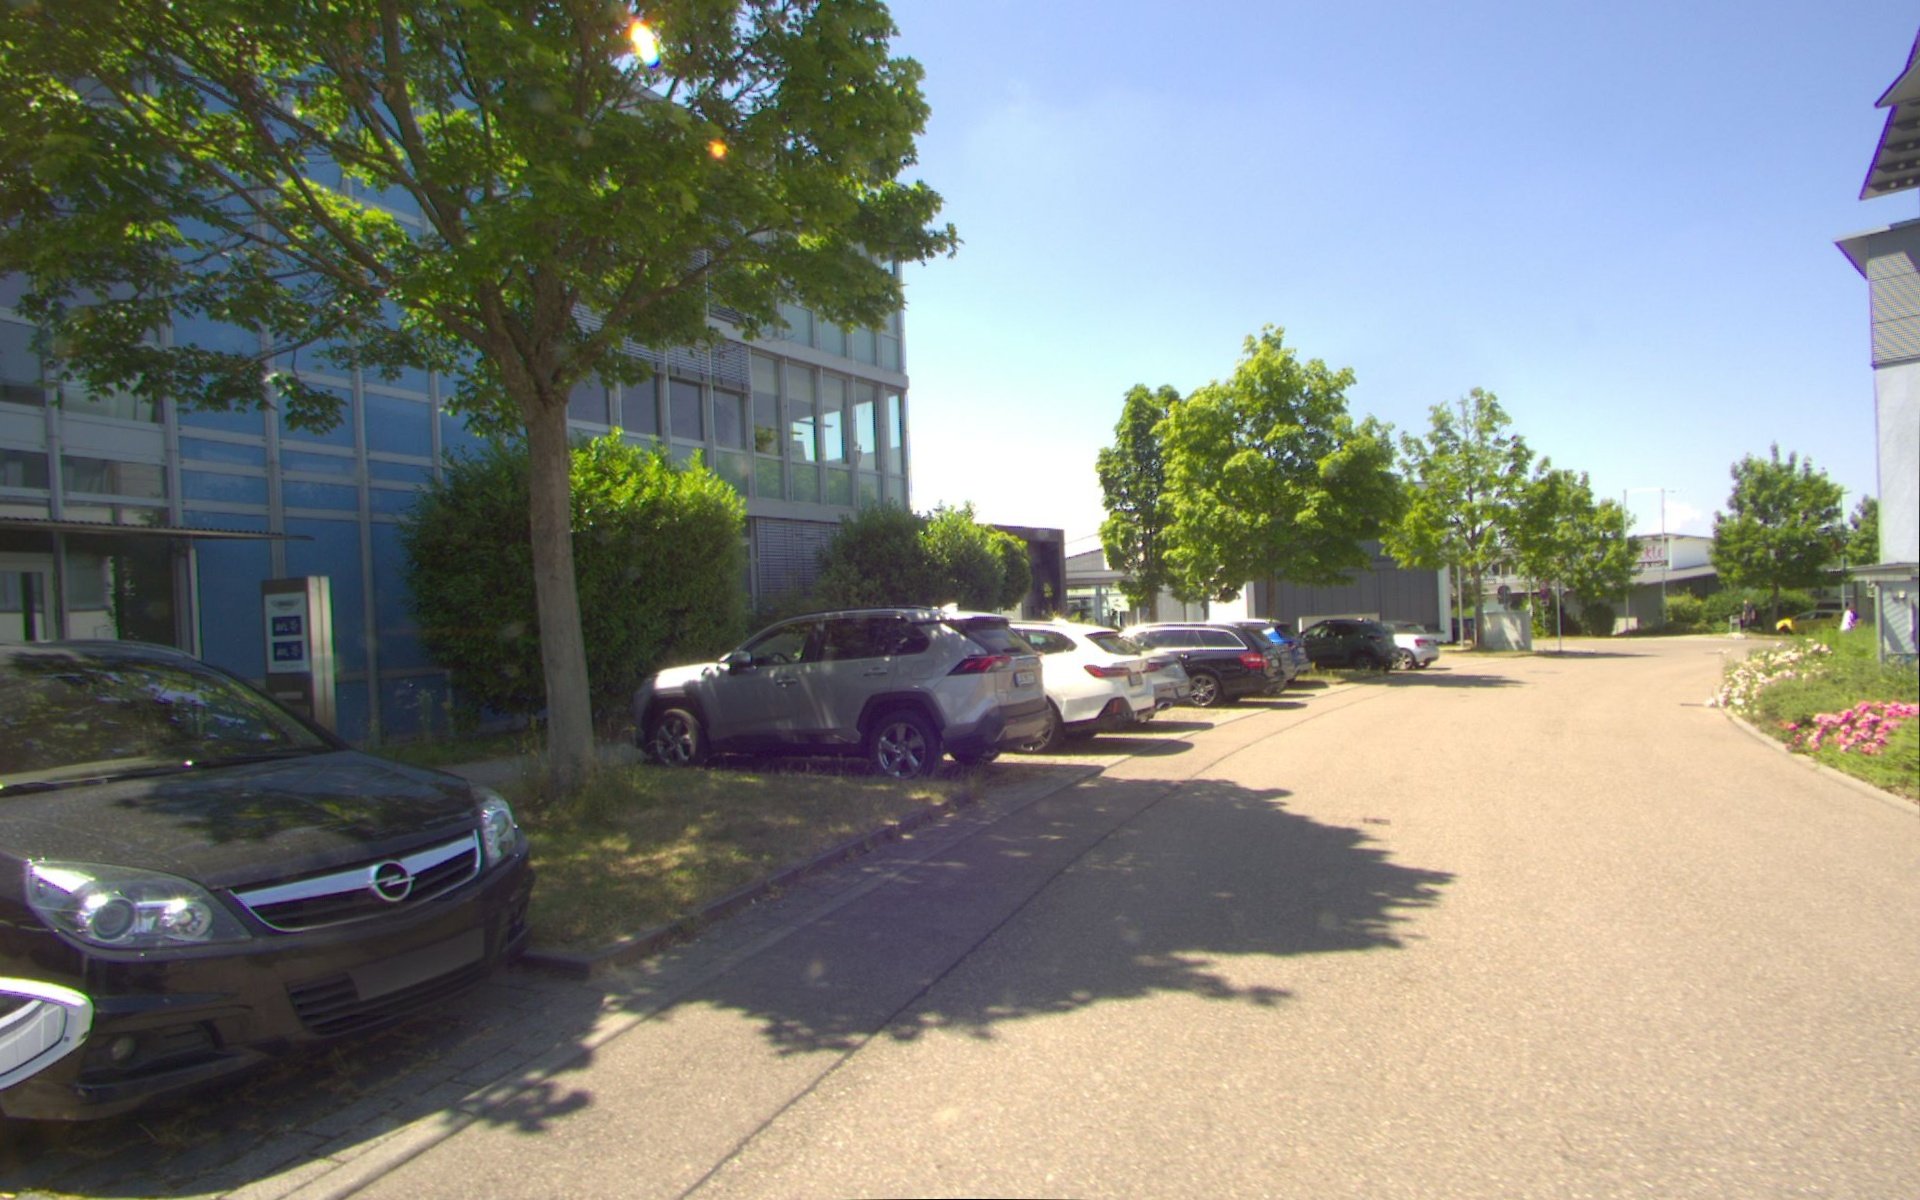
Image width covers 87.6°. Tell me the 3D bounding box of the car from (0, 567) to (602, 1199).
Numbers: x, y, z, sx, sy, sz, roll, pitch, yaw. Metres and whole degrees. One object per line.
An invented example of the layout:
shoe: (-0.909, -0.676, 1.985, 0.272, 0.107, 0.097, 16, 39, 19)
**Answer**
car: (-3.824, 0.804, 4.001, 4.489, 1.569, 1.759, -2, -2, 23)

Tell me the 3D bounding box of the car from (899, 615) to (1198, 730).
car: (1.300, 1.003, 14.830, 4.109, 1.505, 1.656, -1, -1, 25)

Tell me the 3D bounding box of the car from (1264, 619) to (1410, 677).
car: (10.656, 1.322, 28.427, 3.551, 1.545, 1.622, -1, -1, 43)

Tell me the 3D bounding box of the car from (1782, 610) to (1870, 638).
car: (46.141, 1.298, 53.419, 1.560, 1.461, 3.213, -1, -2, -13)

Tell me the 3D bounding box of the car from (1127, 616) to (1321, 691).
car: (6.138, 1.207, 23.526, 4.127, 1.625, 1.649, -1, -1, 39)

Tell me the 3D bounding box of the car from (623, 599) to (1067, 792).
car: (-1.206, 0.876, 10.398, 4.261, 1.664, 1.852, -1, -1, 25)

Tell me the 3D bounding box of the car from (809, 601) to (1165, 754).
car: (0.316, 0.888, 12.487, 4.134, 1.664, 1.656, -1, -1, 25)

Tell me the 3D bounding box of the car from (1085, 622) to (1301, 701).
car: (4.807, 1.226, 20.754, 4.110, 1.505, 1.655, -1, -1, 26)

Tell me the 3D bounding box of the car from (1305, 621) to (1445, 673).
car: (12.407, 1.368, 30.013, 3.551, 1.462, 1.622, -1, -1, 43)

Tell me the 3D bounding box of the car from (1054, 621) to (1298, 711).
car: (3.964, 1.162, 18.588, 4.118, 1.505, 1.652, -1, -1, 32)
